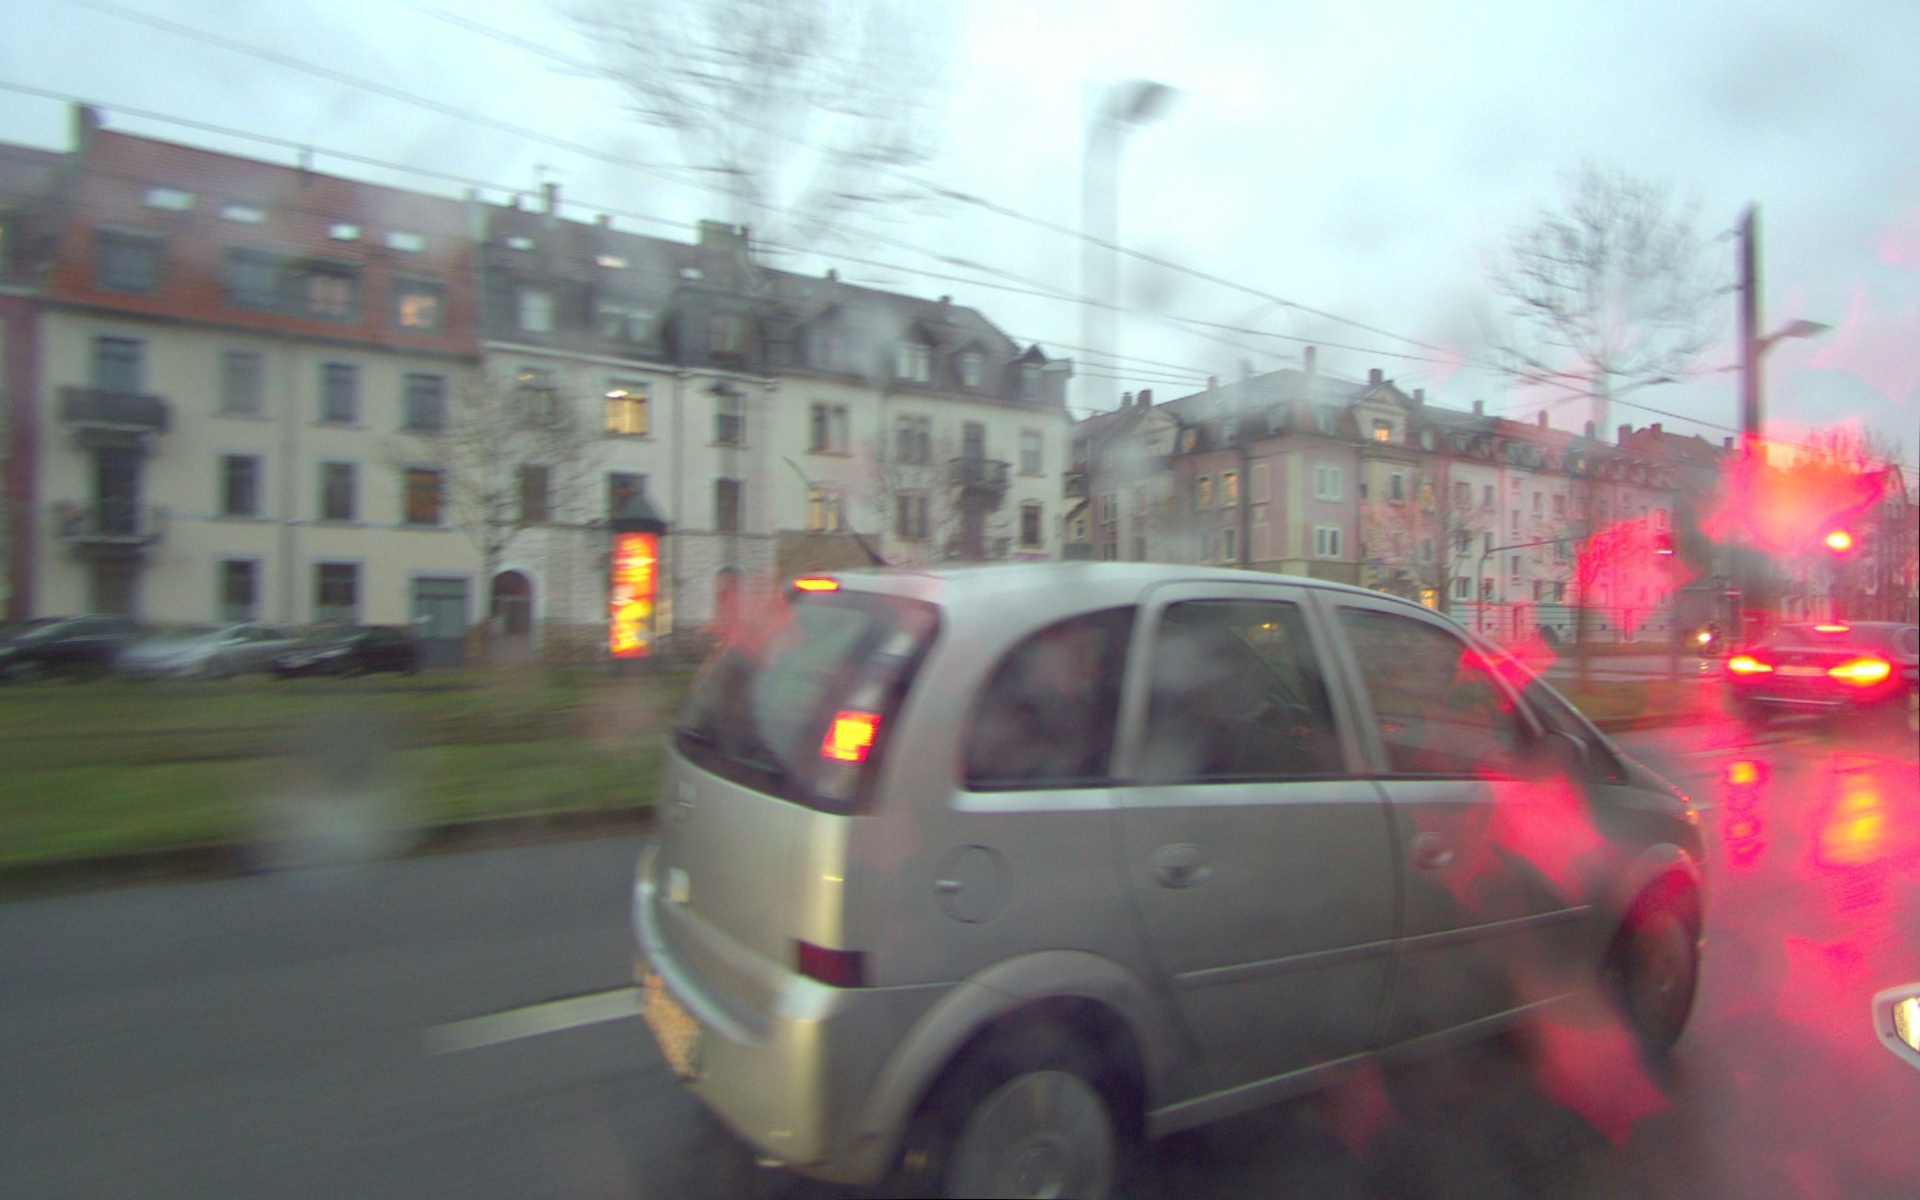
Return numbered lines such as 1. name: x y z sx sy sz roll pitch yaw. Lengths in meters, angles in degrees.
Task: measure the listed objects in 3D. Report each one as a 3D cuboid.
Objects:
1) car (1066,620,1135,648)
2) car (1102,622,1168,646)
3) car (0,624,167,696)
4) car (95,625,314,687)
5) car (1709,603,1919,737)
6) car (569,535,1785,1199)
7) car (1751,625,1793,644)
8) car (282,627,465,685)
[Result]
1. car: 7.788 1.876 55.974 1.774 1.505 3.967 1 -2 -31
2. car: 11.159 2.146 64.201 1.980 1.439 3.960 1 -1 -35
3. car: -20.824 1.316 23.004 1.960 1.505 4.002 0 -2 4
4. car: -17.931 1.291 24.108 1.959 1.349 4.003 0 -2 7
5. car: 12.361 0.892 14.001 4.006 1.621 1.664 1 0 -31
6. car: 0.898 0.736 3.518 4.006 1.621 1.801 1 0 -30
7. car: 69.675 2.952 86.176 3.517 1.520 1.767 1 -2 -32
8. car: -14.672 1.377 25.423 1.959 1.349 4.003 0 -2 7
